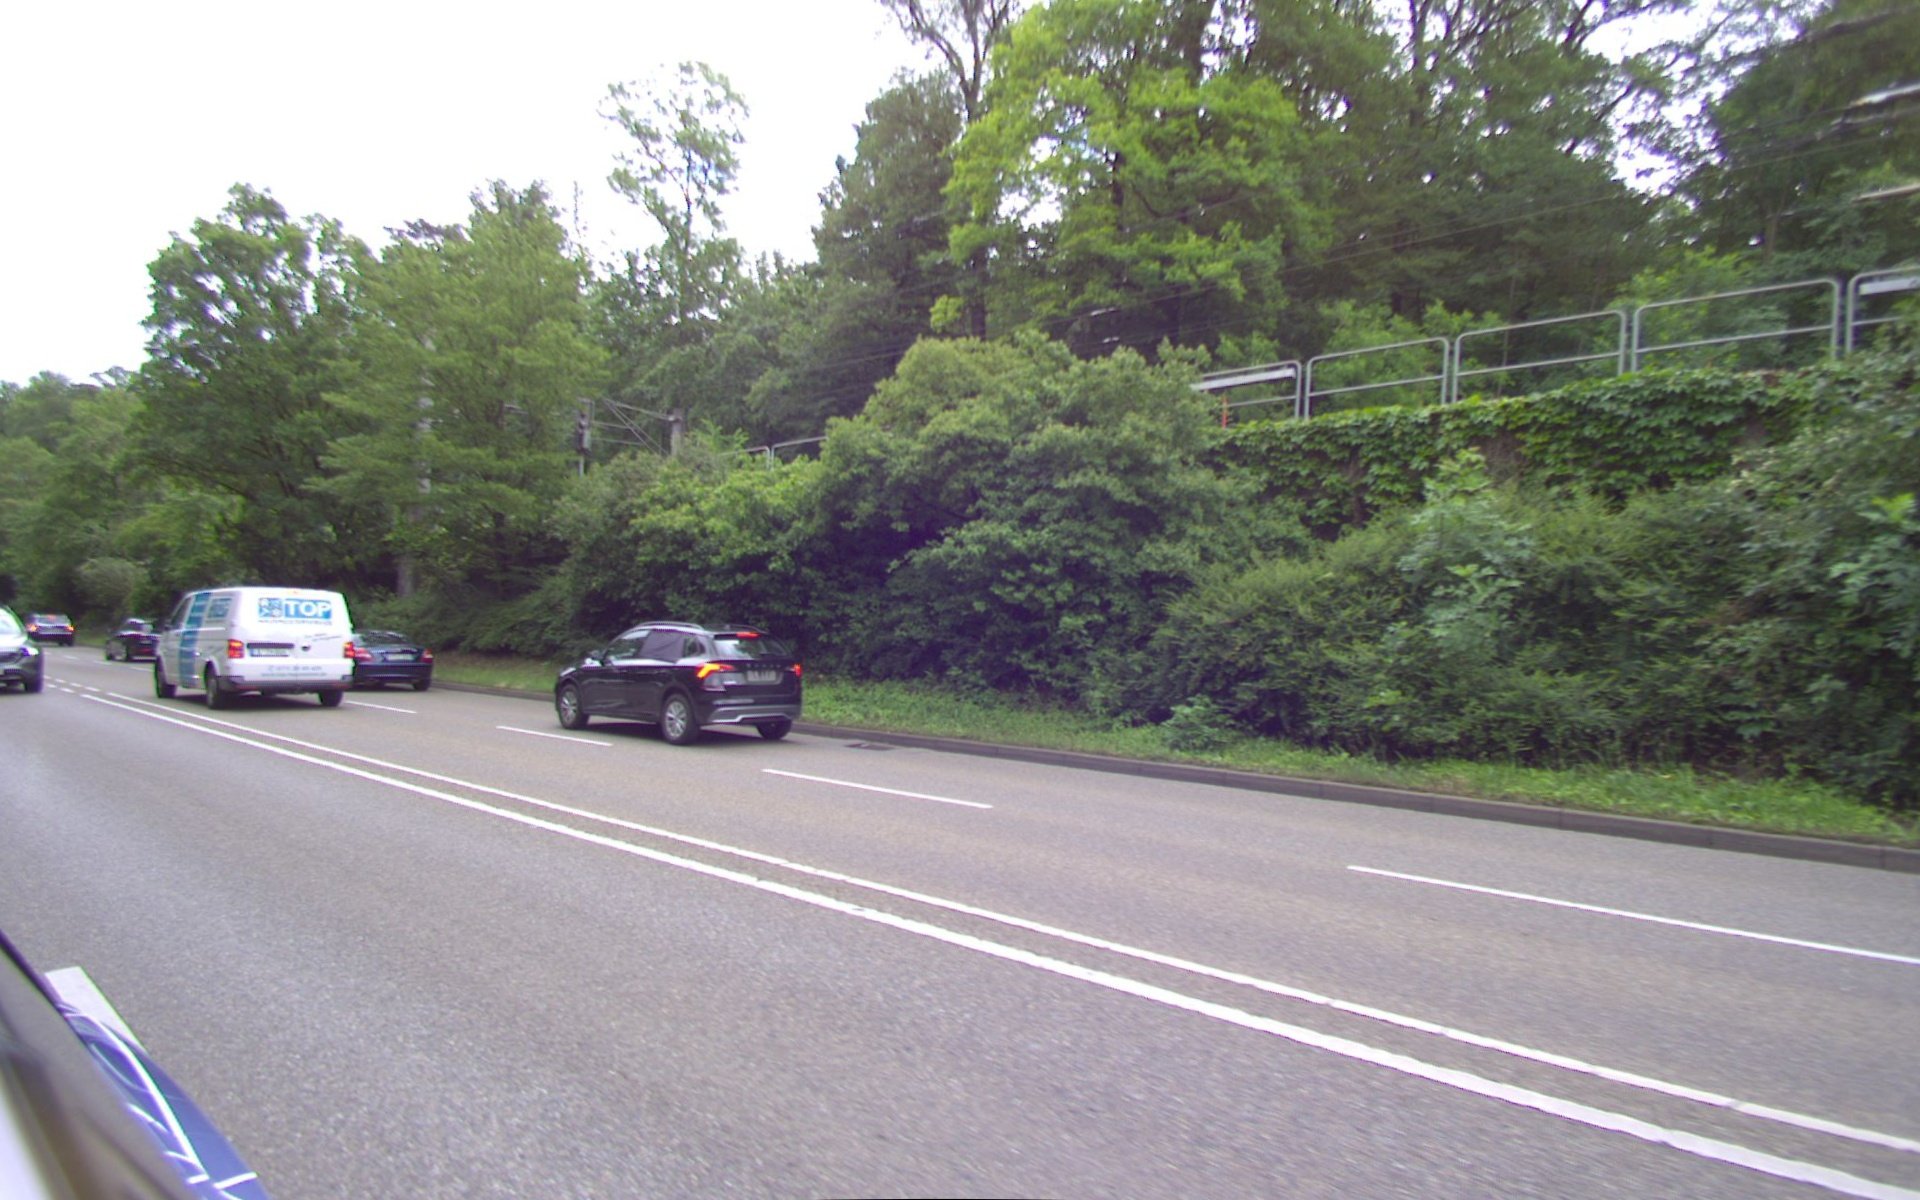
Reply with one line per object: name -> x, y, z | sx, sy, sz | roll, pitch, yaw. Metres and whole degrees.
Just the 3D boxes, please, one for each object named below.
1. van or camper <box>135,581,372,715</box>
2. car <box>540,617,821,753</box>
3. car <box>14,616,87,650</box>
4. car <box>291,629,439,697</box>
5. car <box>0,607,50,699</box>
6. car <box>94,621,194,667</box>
van or camper -> -12.508, 0.790, 17.766 | 5.363, 2.029, 1.973 | -1, -3, 40
car -> -3.935, 1.076, 13.949 | 4.066, 1.608, 1.718 | -1, -4, 41
car -> -46.234, 1.651, 51.448 | 4.179, 1.624, 1.776 | 0, -3, 35
car -> -13.263, 1.366, 22.467 | 3.998, 1.322, 1.625 | -1, -4, 41
car -> -19.195, 0.969, 19.544 | 4.190, 1.675, 1.847 | -1, -3, 41
car -> -28.233, 1.500, 34.954 | 4.527, 1.479, 1.893 | -1, -3, 41
